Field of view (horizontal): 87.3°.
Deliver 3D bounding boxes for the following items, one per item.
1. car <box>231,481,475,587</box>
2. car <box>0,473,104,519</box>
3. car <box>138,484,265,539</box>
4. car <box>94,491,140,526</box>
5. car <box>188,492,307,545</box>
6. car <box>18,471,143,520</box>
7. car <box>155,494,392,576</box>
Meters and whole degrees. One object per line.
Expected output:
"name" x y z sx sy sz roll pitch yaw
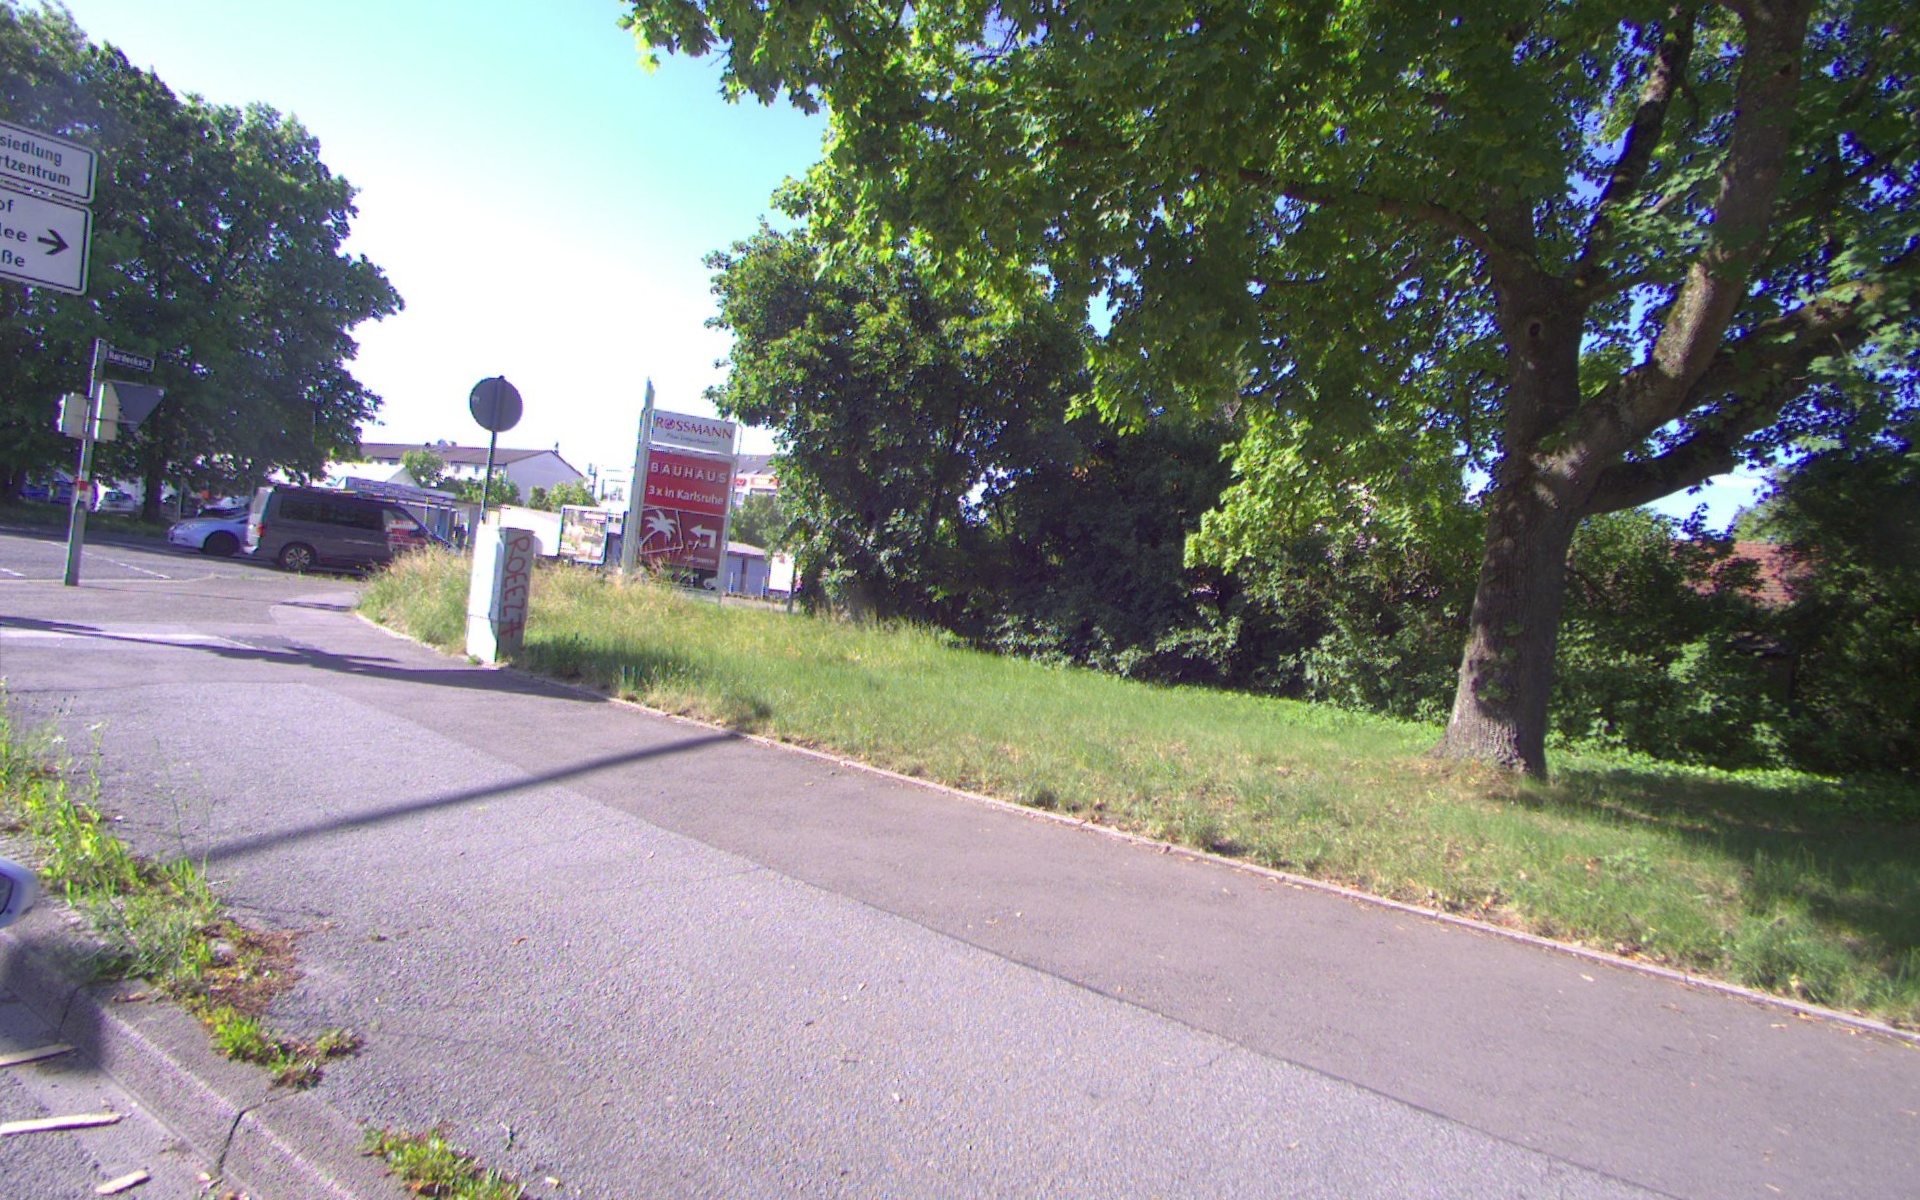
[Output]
"car" -15.522 -1.634 25.908 4.982 2.017 1.894 7 1 -44
"car" -42.003 -4.769 46.166 1.712 1.537 3.902 7 0 9
"car" -32.347 -3.740 43.044 1.962 1.772 4.000 7 1 9
"car" -47.431 -5.156 56.583 1.733 1.701 3.951 6 1 -43
"car" -30.309 -3.428 42.926 1.712 1.701 4.001 7 0 9
"car" -39.193 -4.628 44.942 1.712 1.537 3.902 7 0 9
"car" -18.661 -1.736 27.536 1.973 1.504 4.994 7 0 43
